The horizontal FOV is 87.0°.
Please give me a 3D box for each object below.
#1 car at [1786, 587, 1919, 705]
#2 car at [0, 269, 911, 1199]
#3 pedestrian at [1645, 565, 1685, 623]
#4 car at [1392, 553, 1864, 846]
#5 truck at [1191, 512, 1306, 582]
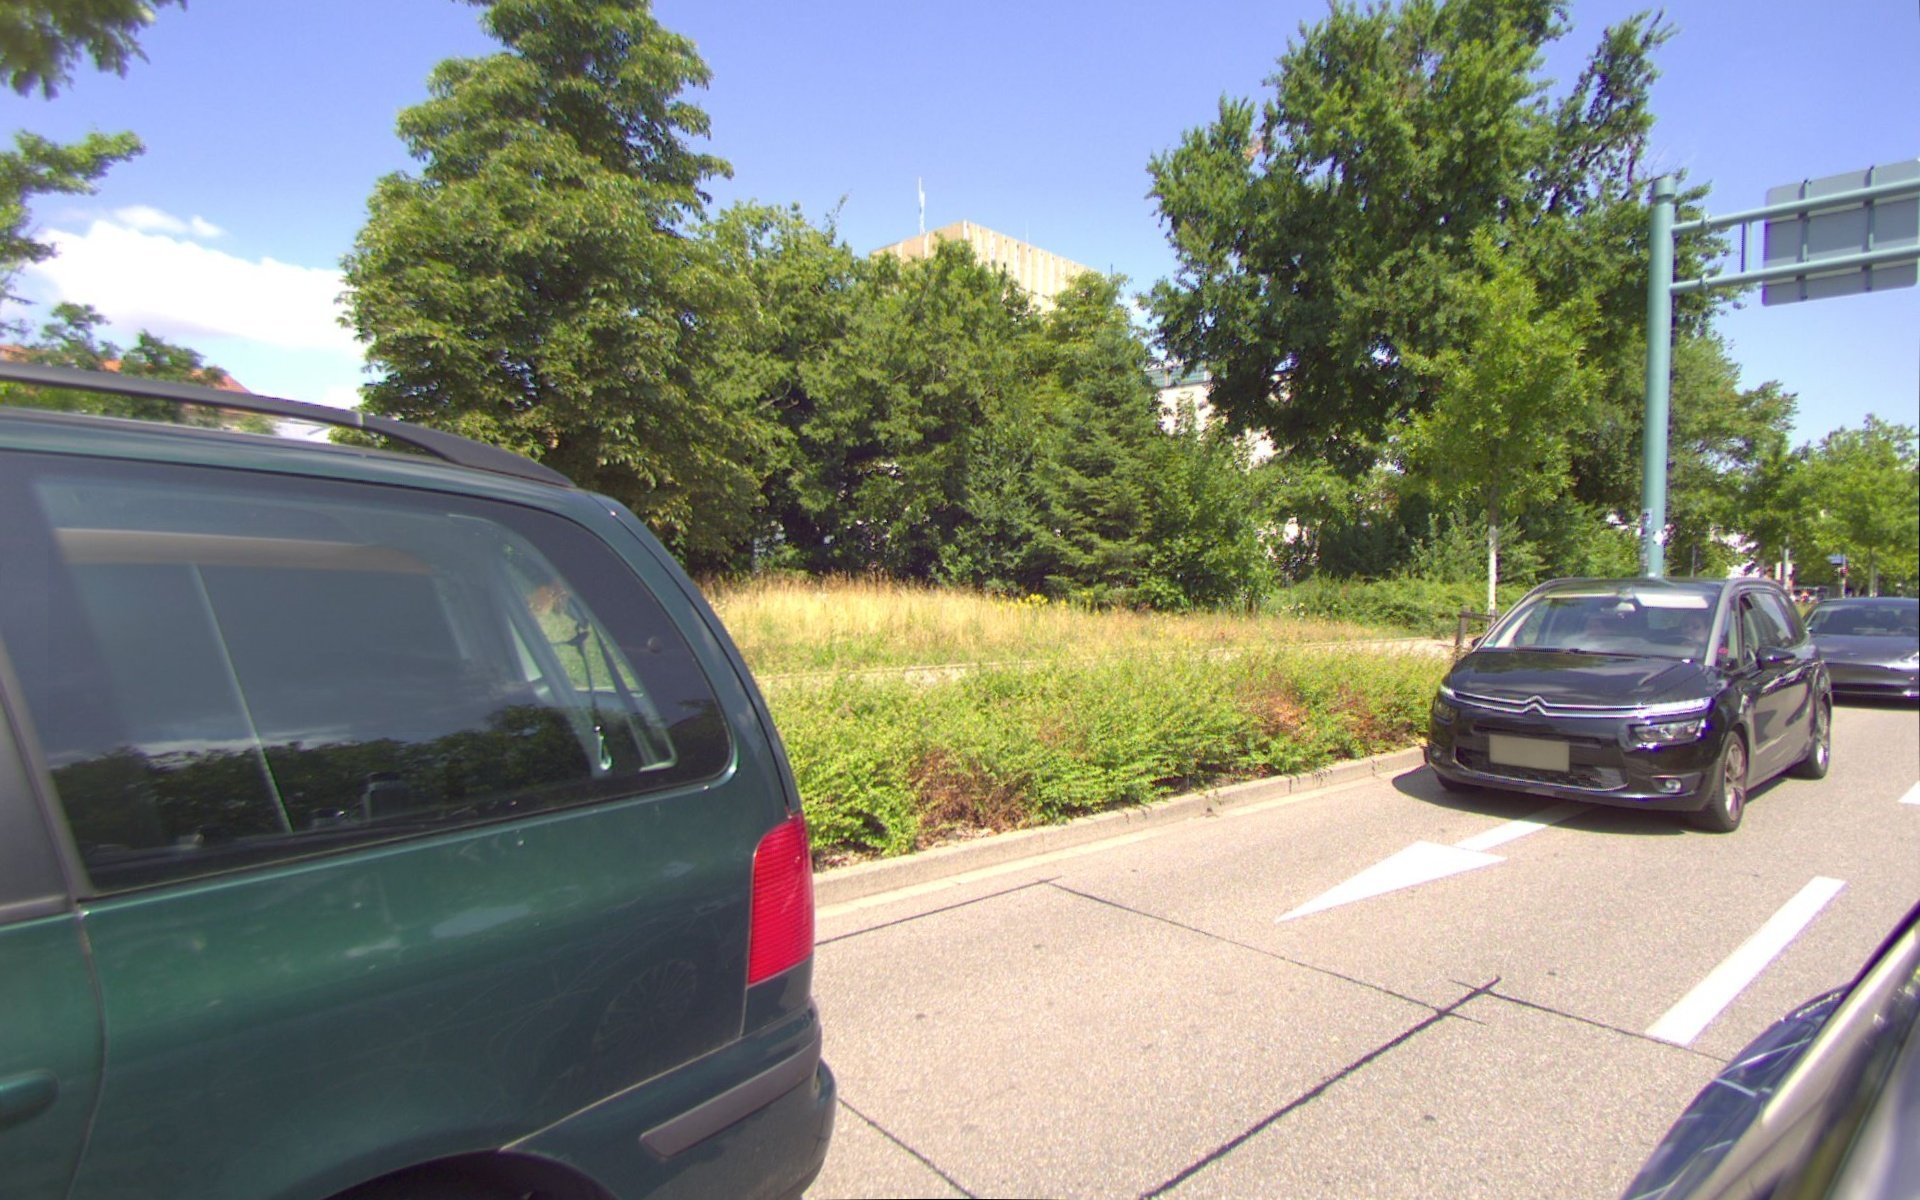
[{"bbox_3d":[13.202,0.573,14.304,4.289,1.435,1.763,0,1,-43],"label":"car"},{"bbox_3d":[-2.314,0.543,1.027,4.370,1.745,1.797,0,-1,-41],"label":"car"},{"bbox_3d":[21.958,-0.191,31.521,0.827,1.787,0.843,-1,0,-41],"label":"pedestrian"},{"bbox_3d":[5.340,0.565,7.842,4.440,1.643,1.861,0,-1,-40],"label":"car"},{"bbox_3d":[13.686,-2.404,47.708,2.092,3.061,7.011,0,1,45],"label":"truck"}]
